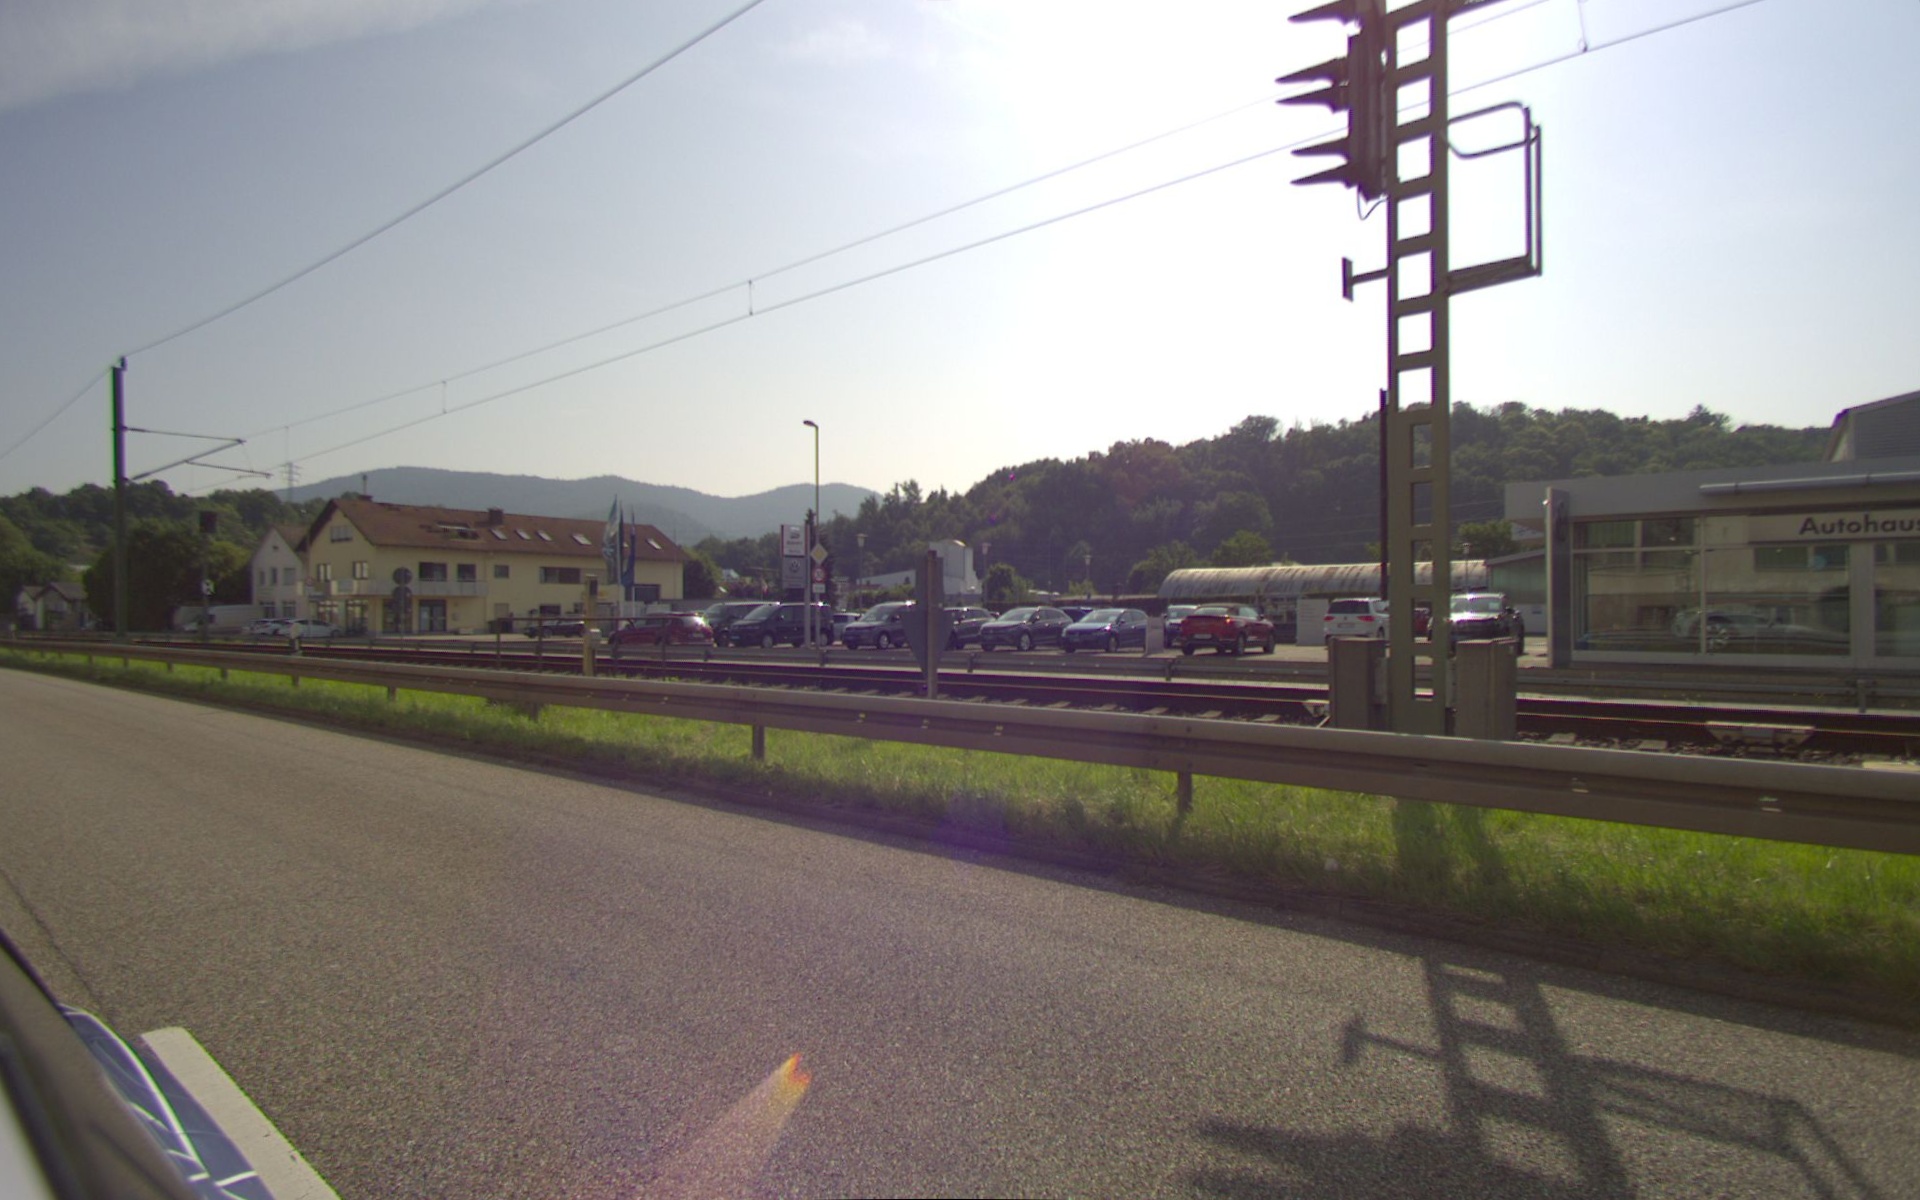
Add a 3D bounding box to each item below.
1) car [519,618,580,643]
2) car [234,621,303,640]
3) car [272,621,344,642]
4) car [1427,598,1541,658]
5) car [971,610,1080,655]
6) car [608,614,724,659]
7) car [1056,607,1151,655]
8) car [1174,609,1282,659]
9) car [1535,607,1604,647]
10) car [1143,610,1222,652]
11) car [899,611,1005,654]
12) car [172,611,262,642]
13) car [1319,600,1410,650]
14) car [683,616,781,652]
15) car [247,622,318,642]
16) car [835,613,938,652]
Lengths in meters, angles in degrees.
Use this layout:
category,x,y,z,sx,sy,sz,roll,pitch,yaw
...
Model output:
category,x,y,z,sx,sy,sz,roll,pitch,yaw
car,-26.572,1.948,65.592,3.486,1.588,1.654,0,-1,-29
car,-49.709,2.186,72.824,1.645,1.309,3.812,-1,-1,35
car,-44.964,2.158,69.851,1.645,1.309,3.812,-1,-1,35
car,13.995,0.737,26.944,1.860,1.471,3.946,-1,-2,40
car,2.313,1.105,34.983,1.759,1.471,3.946,-1,-2,40
car,-10.354,1.258,35.525,3.990,1.471,1.839,-1,-2,35
car,4.742,1.003,33.076,1.753,1.471,3.959,-1,-1,30
car,8.082,0.991,30.301,1.857,1.385,3.952,-1,-2,35
car,22.470,0.973,37.243,1.857,1.385,3.951,-1,-2,36
car,8.238,1.144,37.830,1.734,1.471,4.005,0,-1,-5
car,-0.244,1.168,37.219,1.759,1.471,3.946,-1,-2,40
car,-59.918,2.102,81.695,2.233,2.435,5.519,-1,-1,38
car,13.719,0.809,34.180,1.996,1.593,3.952,-1,-1,35
car,-9.954,1.466,44.426,1.759,1.471,3.946,-1,-2,40
car,-47.586,2.207,71.149,1.645,1.309,3.812,-1,-1,35
car,-2.829,1.245,39.615,1.759,1.471,3.946,-1,-2,40
